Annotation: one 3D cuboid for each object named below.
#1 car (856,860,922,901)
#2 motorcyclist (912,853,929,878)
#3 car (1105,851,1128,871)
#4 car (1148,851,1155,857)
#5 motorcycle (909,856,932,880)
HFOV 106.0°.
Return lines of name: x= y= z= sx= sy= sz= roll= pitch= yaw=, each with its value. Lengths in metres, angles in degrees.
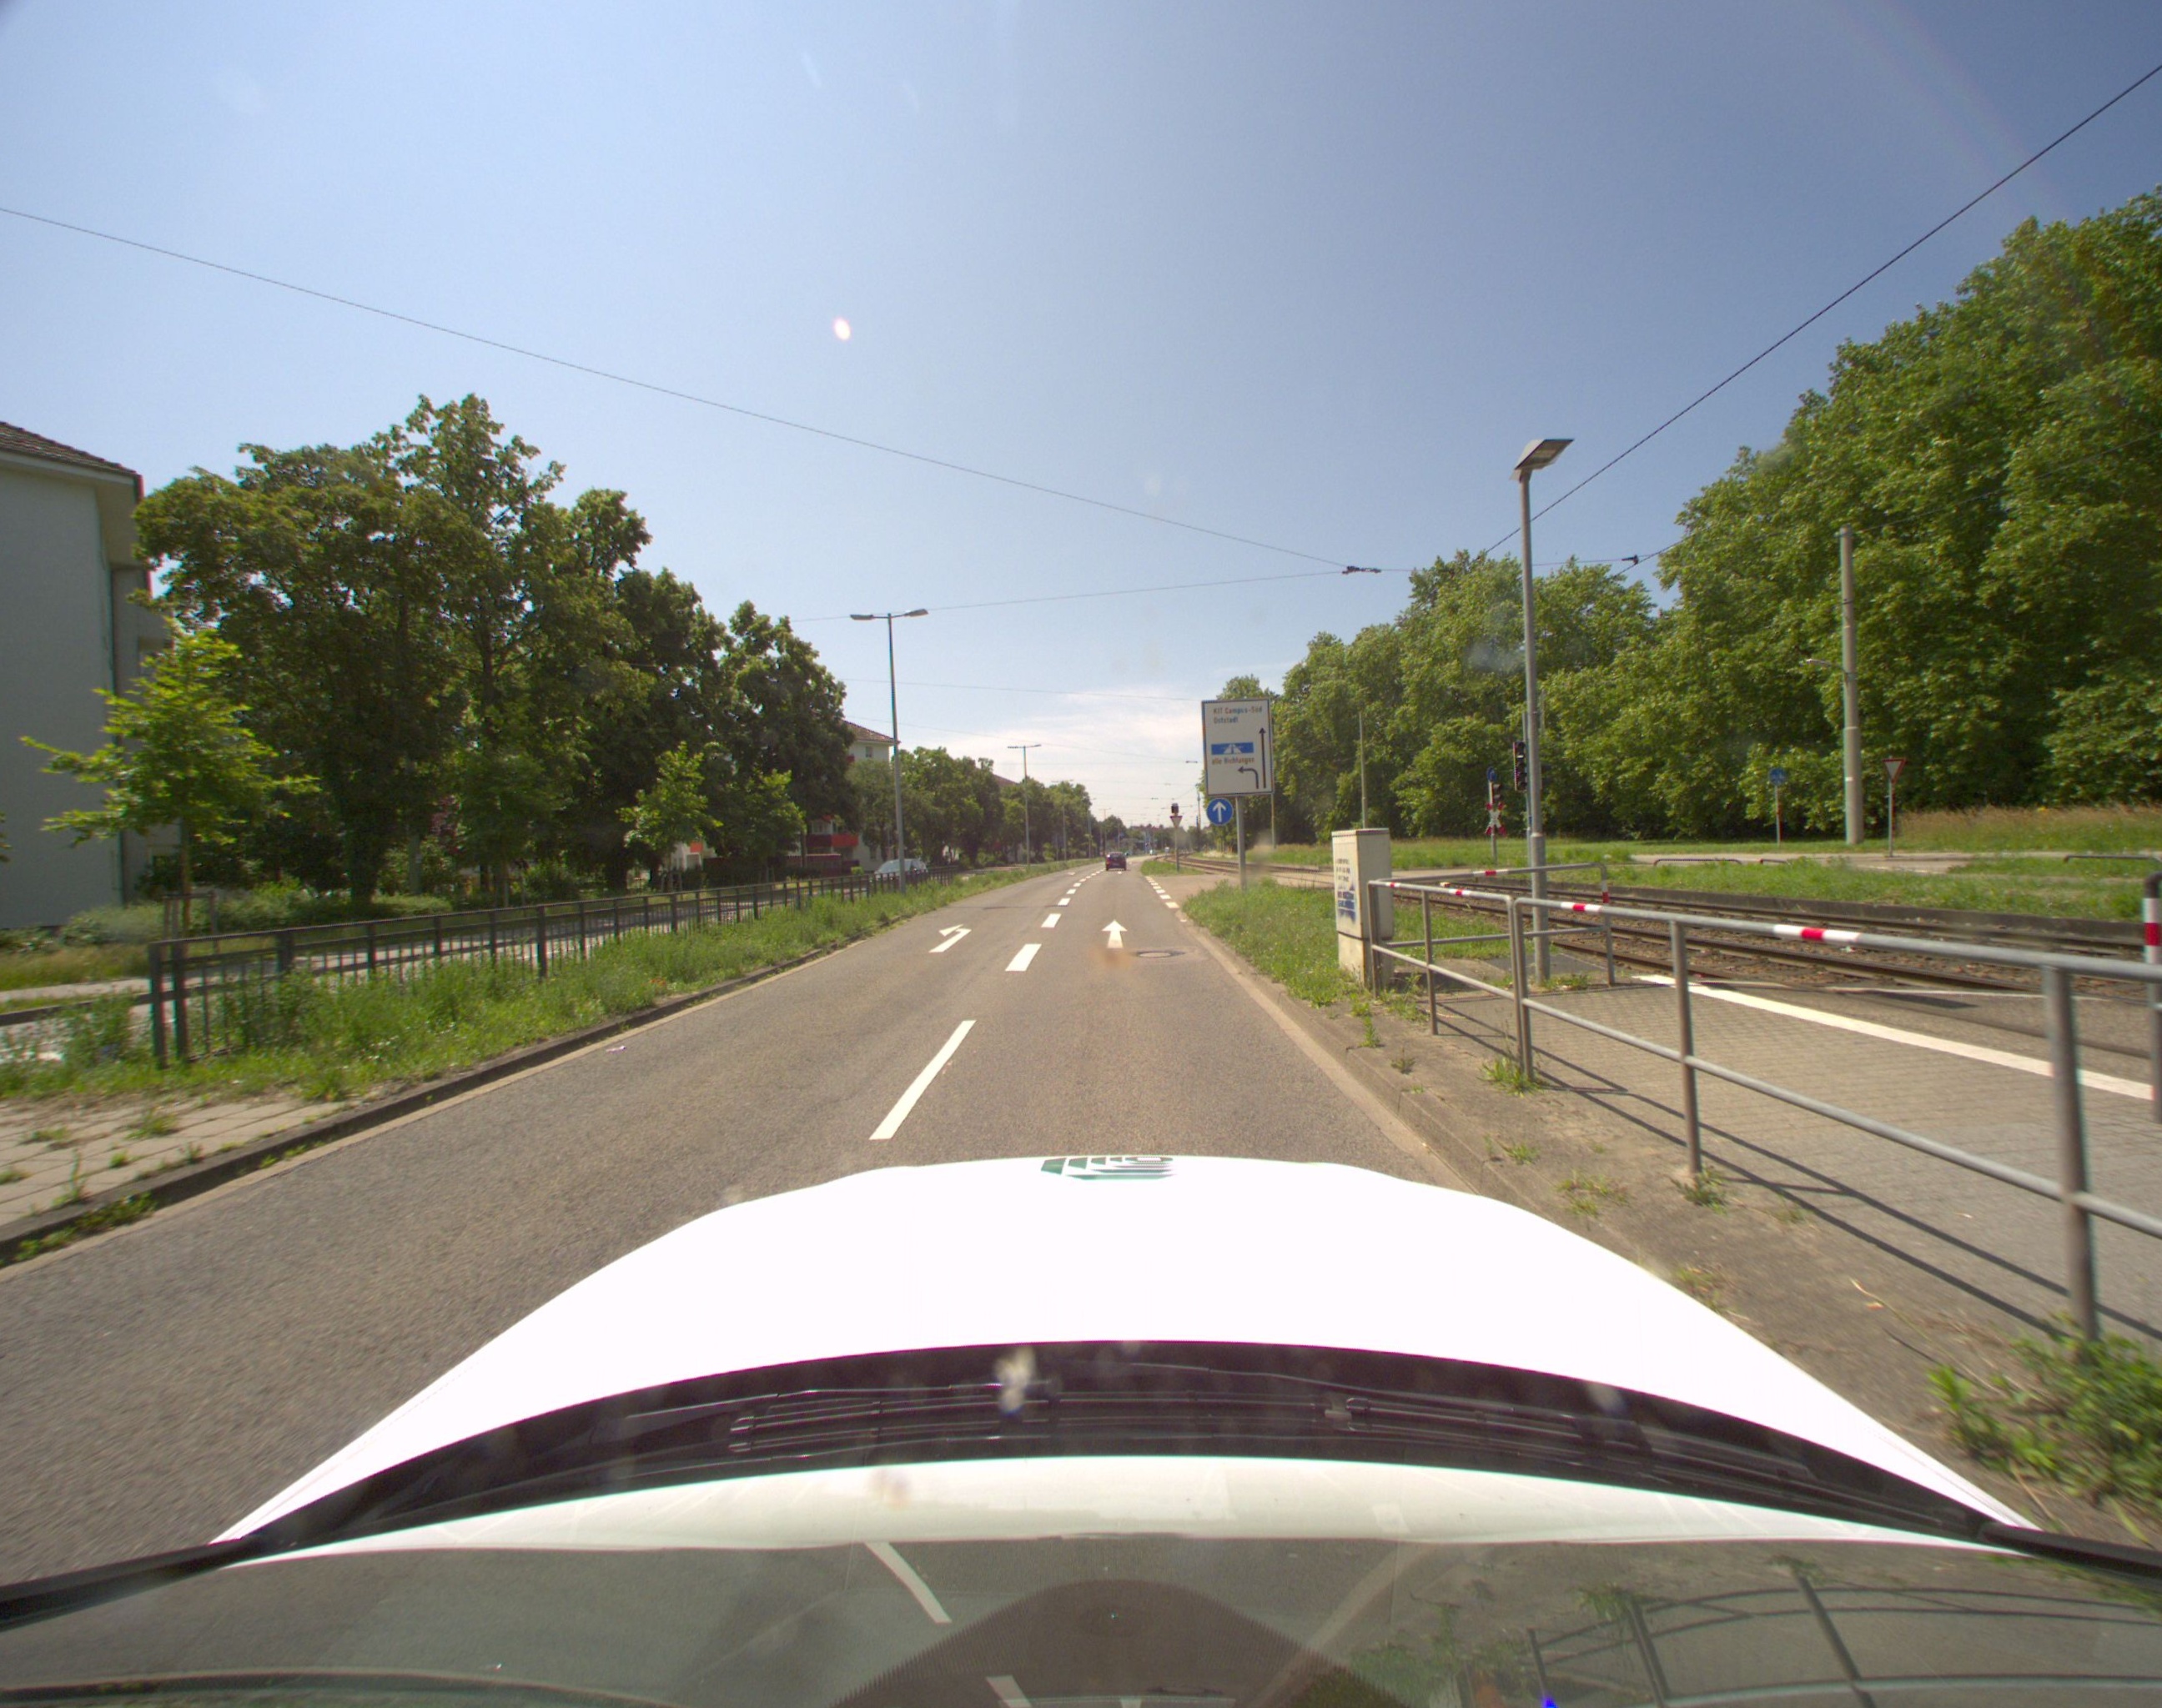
car: x=-8.184 y=1.091 z=35.147 sx=1.750 sy=1.543 sz=4.161 roll=-3 pitch=0 yaw=0
motorcyclist: x=-9.427 y=0.638 z=47.881 sx=0.734 sy=1.403 sz=1.511 roll=-3 pitch=0 yaw=-2
car: x=2.836 y=0.526 z=65.226 sx=1.696 sy=1.477 sz=3.719 roll=-3 pitch=0 yaw=3
car: x=18.918 y=-0.046 z=219.033 sx=1.695 sy=1.480 sz=3.721 roll=-1 pitch=0 yaw=5
motorcycle: x=-9.448 y=0.803 z=47.915 sx=0.803 sy=1.299 sz=2.394 roll=-3 pitch=0 yaw=0
